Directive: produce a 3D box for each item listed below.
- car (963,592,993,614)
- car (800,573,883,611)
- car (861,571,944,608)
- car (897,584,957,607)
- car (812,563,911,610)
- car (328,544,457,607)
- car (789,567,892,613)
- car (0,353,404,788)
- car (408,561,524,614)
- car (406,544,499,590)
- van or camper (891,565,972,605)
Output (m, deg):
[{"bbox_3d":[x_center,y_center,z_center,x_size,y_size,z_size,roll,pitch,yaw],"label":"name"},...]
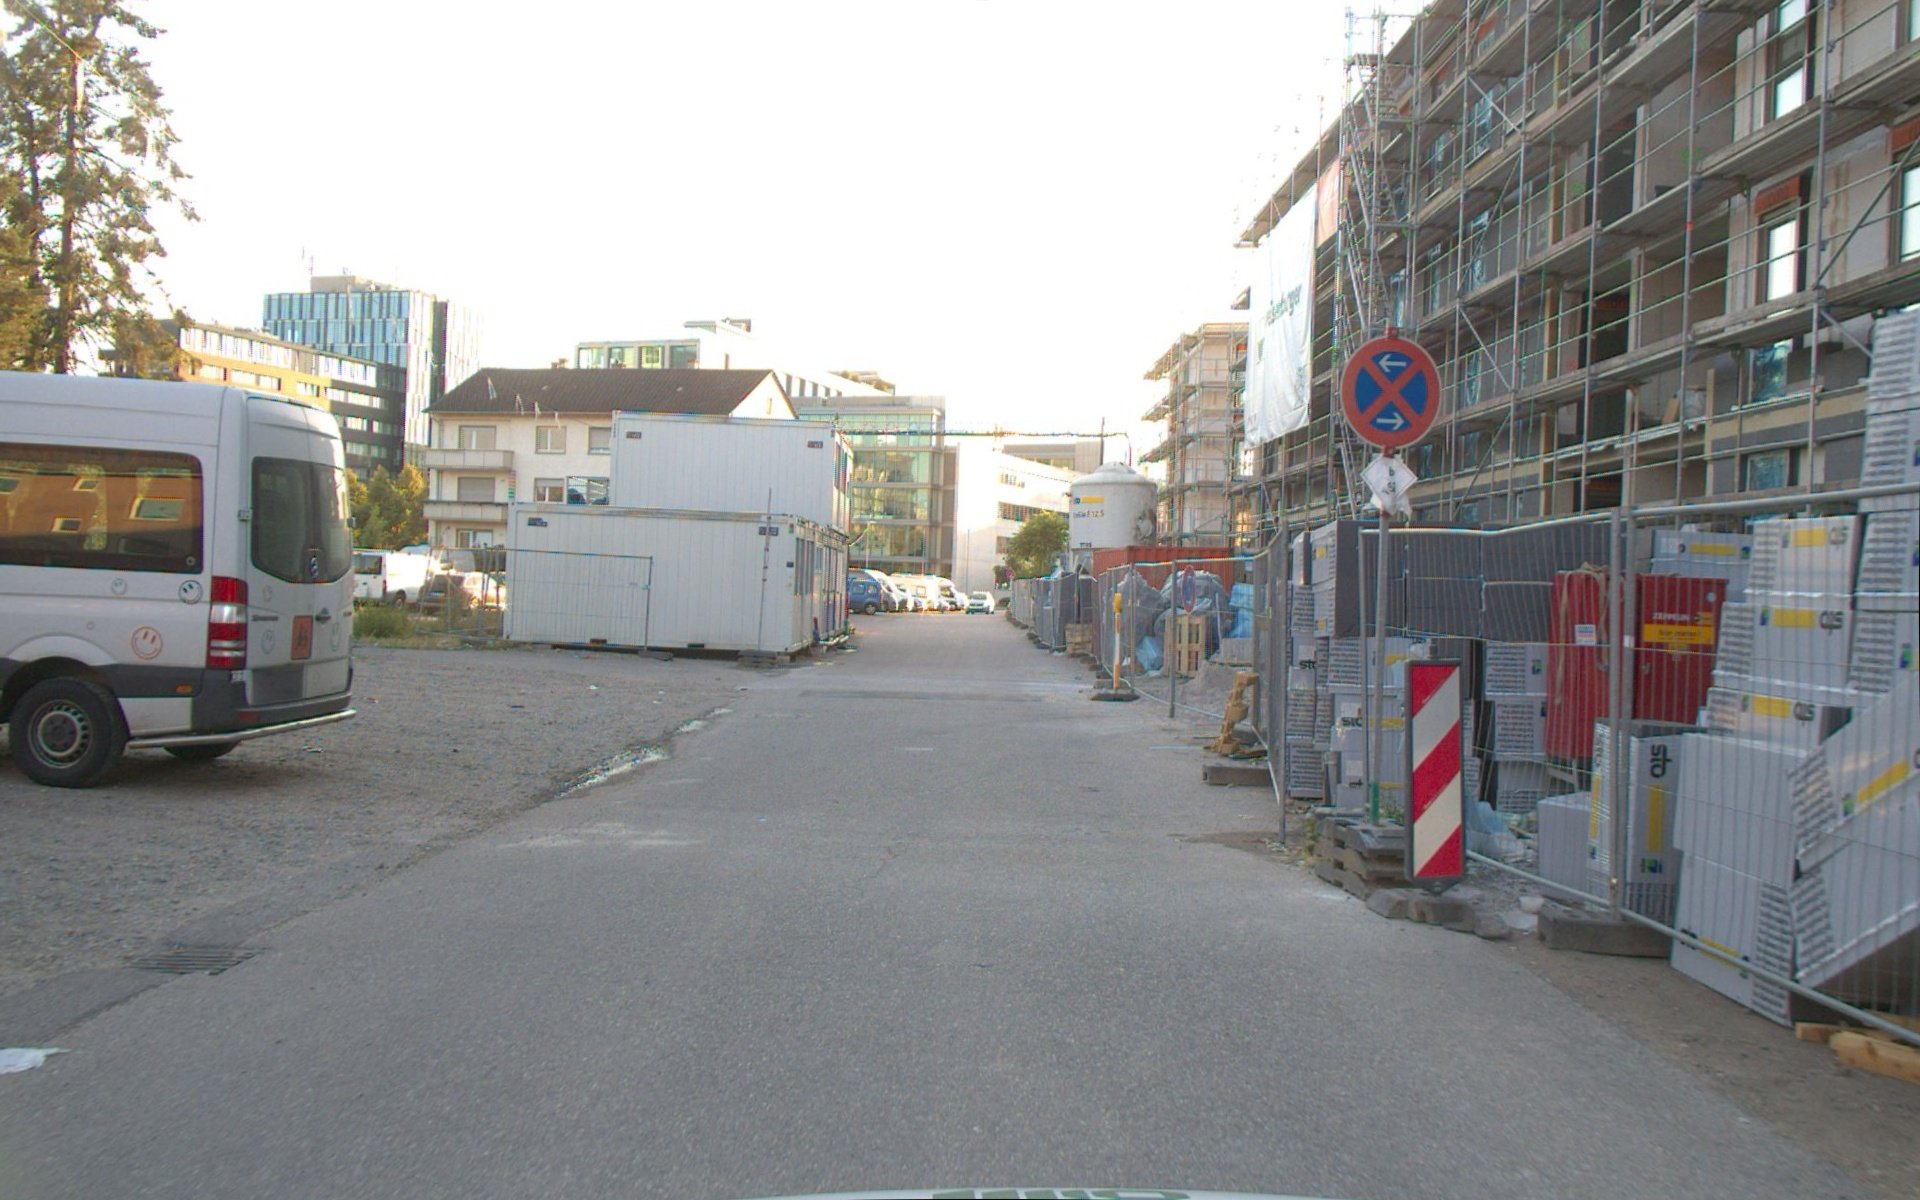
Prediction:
[{"bbox_3d":[1.349,0.199,122.234,1.629,1.555,3.914,2,0,9],"label":"car"},{"bbox_3d":[-6.410,-0.450,89.284,4.416,1.901,1.998,2,0,-6],"label":"car"},{"bbox_3d":[-4.243,-0.790,122.318,5.797,2.533,2.002,2,0,11],"label":"car"},{"bbox_3d":[-2.583,-0.367,130.425,4.408,1.676,2.002,2,0,9],"label":"car"},{"bbox_3d":[-6.318,-0.873,107.048,6.198,2.789,2.000,2,0,0],"label":"car"},{"bbox_3d":[-20.035,-0.844,58.624,2.259,2.049,5.062,2,0,7],"label":"car"},{"bbox_3d":[-7.408,-0.616,103.216,6.198,2.697,2.000,2,0,0],"label":"car"},{"bbox_3d":[-7.153,-0.294,11.655,5.571,2.672,2.222,3,0,1],"label":"car"},{"bbox_3d":[-17.208,-0.421,57.879,1.969,1.681,5.062,2,0,7],"label":"car"},{"bbox_3d":[-24.761,-1.604,80.910,2.259,2.049,5.062,2,0,10],"label":"car"},{"bbox_3d":[-2.347,-1.213,136.102,6.198,3.030,2.294,3,0,12],"label":"van or camper"}]
